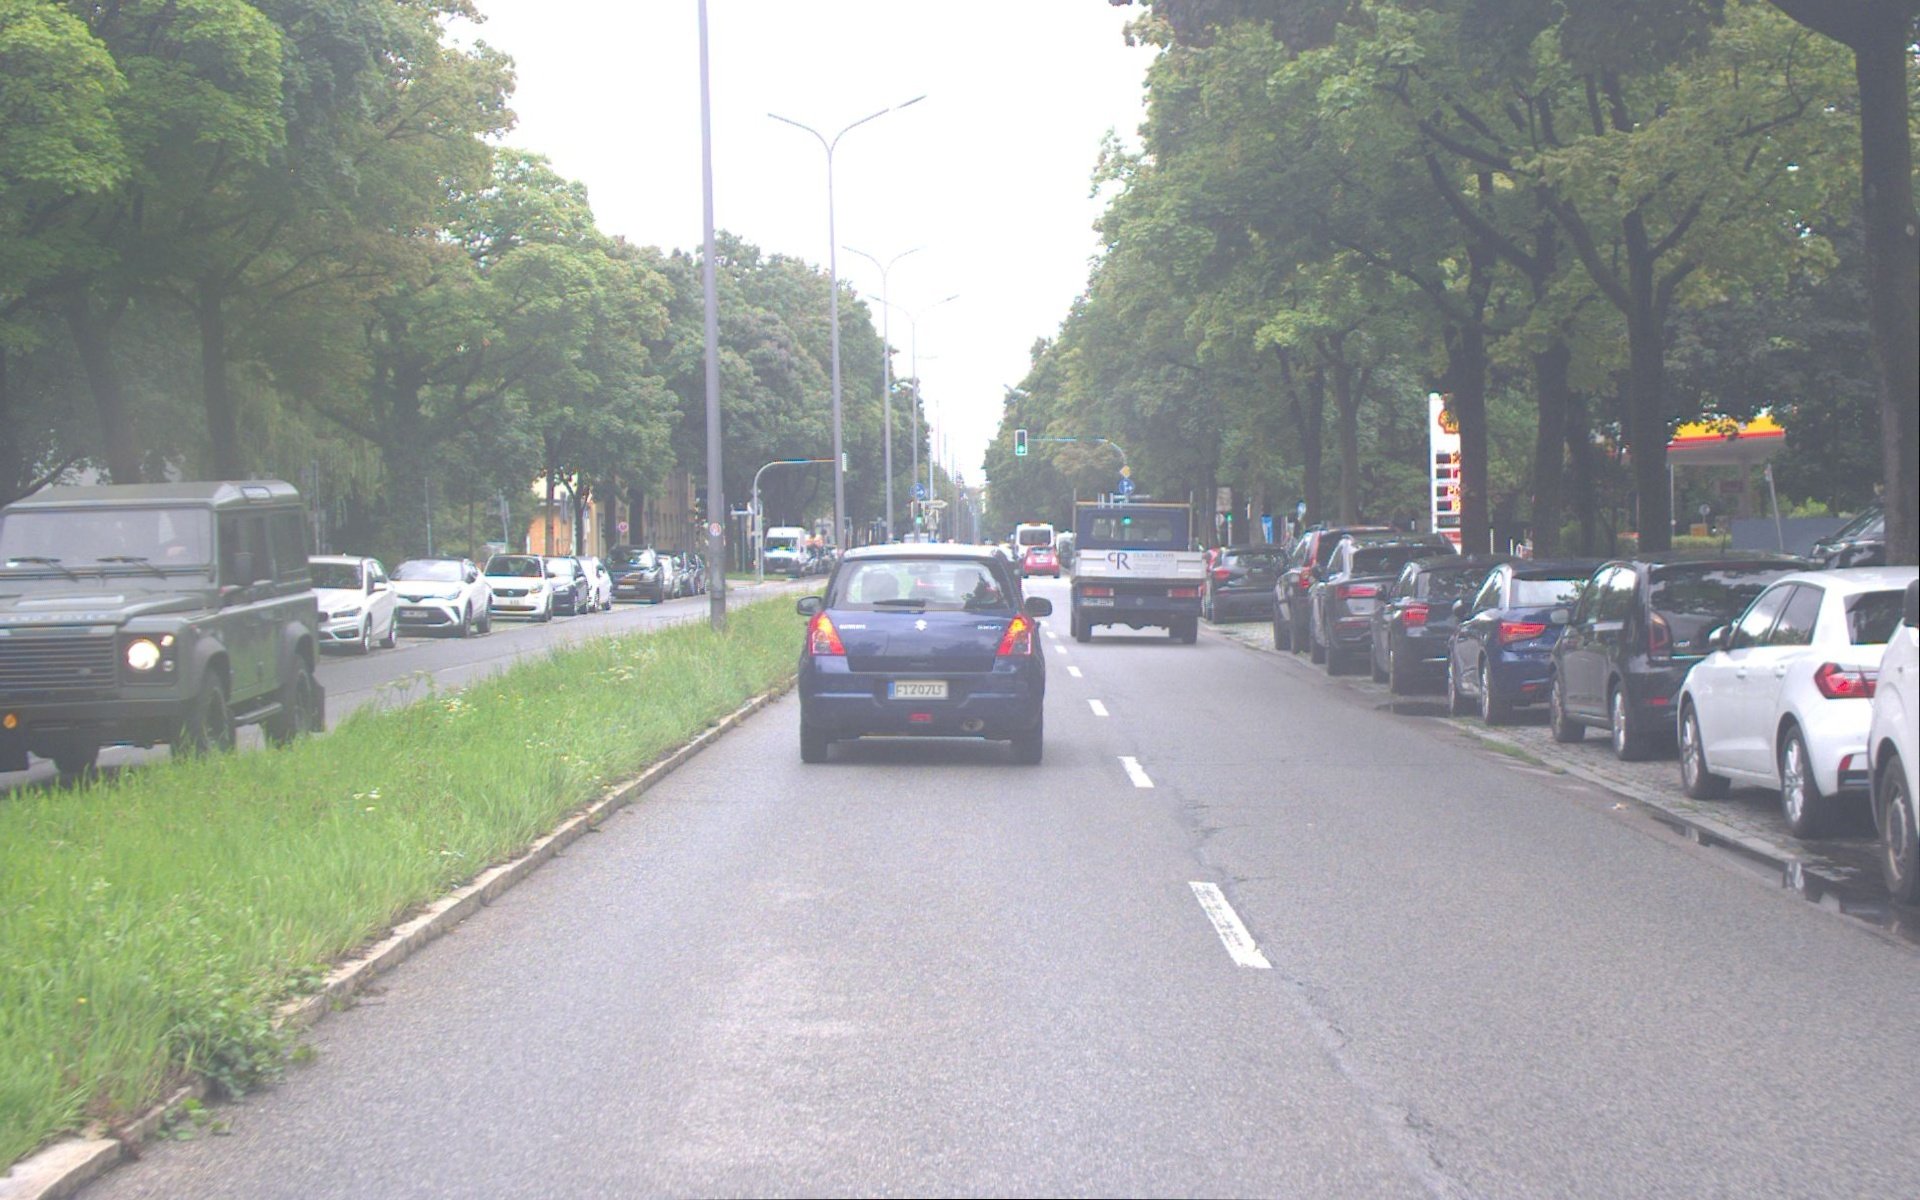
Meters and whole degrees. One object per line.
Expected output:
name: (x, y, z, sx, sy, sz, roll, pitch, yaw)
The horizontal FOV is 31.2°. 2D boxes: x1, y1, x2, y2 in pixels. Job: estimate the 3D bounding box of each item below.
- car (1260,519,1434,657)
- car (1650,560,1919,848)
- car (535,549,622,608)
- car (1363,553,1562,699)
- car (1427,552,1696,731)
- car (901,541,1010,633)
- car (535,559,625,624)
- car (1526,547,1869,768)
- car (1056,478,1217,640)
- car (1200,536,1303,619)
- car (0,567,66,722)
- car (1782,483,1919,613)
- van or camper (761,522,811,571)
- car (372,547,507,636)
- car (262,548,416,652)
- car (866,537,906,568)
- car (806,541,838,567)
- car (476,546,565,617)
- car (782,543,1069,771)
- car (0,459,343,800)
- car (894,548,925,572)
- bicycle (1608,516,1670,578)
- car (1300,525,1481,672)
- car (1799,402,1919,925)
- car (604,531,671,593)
car: (5.406, -0.211, 48.570, 1.893, 1.794, 4.861, -2, 1, 0)
car: (5.211, 0.508, 19.686, 1.702, 1.392, 4.233, -2, 1, 1)
car: (-10.021, -0.590, 90.530, 1.674, 1.438, 4.320, 2, 1, 1)
car: (5.358, 0.237, 37.139, 1.702, 1.403, 4.512, -1, 1, 3)
car: (5.280, 0.317, 30.647, 1.702, 1.416, 4.121, -2, 1, 1)
car: (-0.061, -0.251, 59.301, 1.799, 1.494, 3.660, -1, 1, 1)
car: (-9.420, -0.235, 85.456, 1.674, 1.470, 4.215, 2, 1, 1)
car: (5.359, 0.361, 25.447, 1.702, 1.441, 3.978, -2, 1, 1)
car: (2.767, -0.674, 54.724, 2.419, 2.436, 5.086, 0, 1, 2)
car: (5.721, -0.470, 67.808, 1.779, 1.506, 4.285, -3, 1, 3)
car: (-10.577, 0.454, 34.753, 1.716, 1.519, 5.035, 2, 1, 0)
car: (16.553, -0.895, 56.629, 5.470, 2.076, 2.147, -1, 1, 0)
van or camper: (-9.039, -2.789, 178.864, 2.140, 2.467, 6.259, -2, 1, 1)
car: (-10.117, -0.191, 67.059, 1.832, 1.604, 4.491, 1, 1, 1)
car: (-10.271, -0.032, 57.166, 1.757, 1.589, 4.490, 1, 1, 0)
car: (-3.598, -2.335, 168.043, 1.739, 1.435, 4.215, -1, 1, 1)
car: (-8.027, -2.668, 199.768, 1.636, 1.437, 3.735, -2, 1, 1)
car: (-10.209, -0.440, 80.010, 1.690, 1.560, 3.080, 2, 1, -1)
car: (-0.301, 0.344, 24.599, 1.896, 1.494, 3.660, 0, 1, -2)
car: (-5.501, 0.136, 23.106, 1.780, 2.022, 4.818, -2, 1, 0)
car: (-3.128, -2.515, 214.069, 1.737, 1.437, 4.103, -2, 1, 2)
bicycle: (13.187, -1.030, 66.816, 0.748, 1.179, 2.247, -1, 1, 0)
car: (5.263, -0.066, 42.570, 1.813, 1.670, 4.799, -1, 1, 3)
car: (4.915, 0.256, 13.347, 1.987, 2.150, 5.555, -2, 1, 1)
car: (-9.737, -1.177, 103.998, 1.796, 1.757, 5.059, 2, 1, -3)
